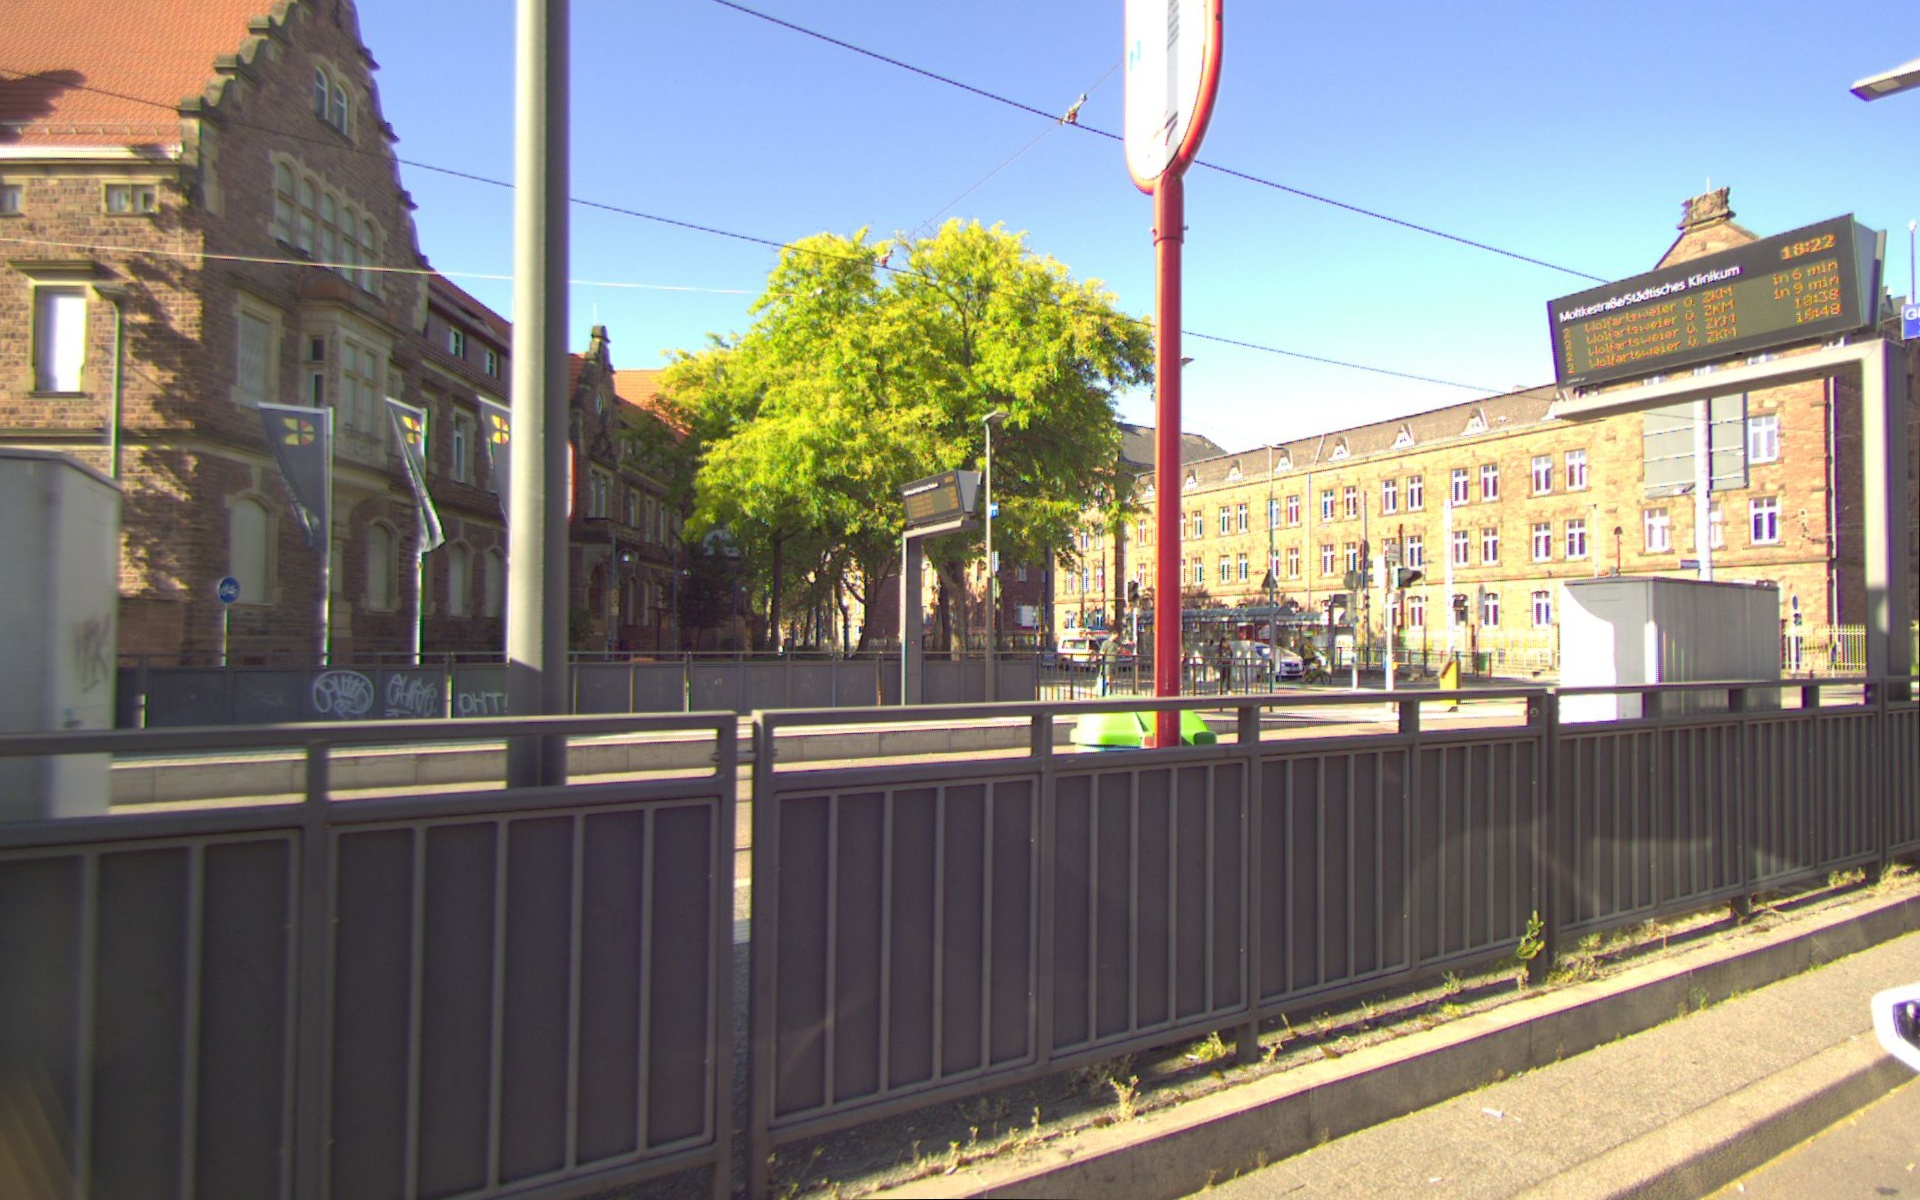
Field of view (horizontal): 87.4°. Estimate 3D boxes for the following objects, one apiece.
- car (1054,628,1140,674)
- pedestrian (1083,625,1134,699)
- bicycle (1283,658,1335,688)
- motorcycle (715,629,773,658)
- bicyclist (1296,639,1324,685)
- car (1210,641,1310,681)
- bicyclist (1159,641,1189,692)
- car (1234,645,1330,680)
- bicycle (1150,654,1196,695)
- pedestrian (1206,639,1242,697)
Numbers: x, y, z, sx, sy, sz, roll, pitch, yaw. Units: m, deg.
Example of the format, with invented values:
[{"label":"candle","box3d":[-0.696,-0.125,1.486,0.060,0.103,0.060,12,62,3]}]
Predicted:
[{"label":"car","box3d":[7.747,2.843,57.192,2.234,2.485,5.006,2,-2,-30]},{"label":"pedestrian","box3d":[3.828,1.592,25.948,1.082,1.885,0.724,2,-2,-27]},{"label":"bicycle","box3d":[12.872,2.675,37.101,0.792,1.027,1.727,2,-2,-29]},{"label":"motorcycle","box3d":[-14.218,2.876,66.372,1.289,1.852,3.759,0,-2,38]},{"label":"bicyclist","box3d":[12.913,2.272,37.053,0.792,1.657,0.631,2,-2,-30]},{"label":"car","box3d":[12.758,2.574,42.979,1.853,1.542,4.050,2,-2,-27]},{"label":"bicyclist","box3d":[6.009,1.857,28.184,0.679,1.402,0.532,0,-2,35]},{"label":"car","box3d":[14.639,2.819,45.884,1.853,1.466,4.050,2,-2,-27]},{"label":"bicycle","box3d":[5.973,2.066,28.131,0.682,1.063,1.665,0,-2,34]},{"label":"pedestrian","box3d":[7.353,1.887,28.016,0.816,1.590,0.574,1,-1,-9]}]
